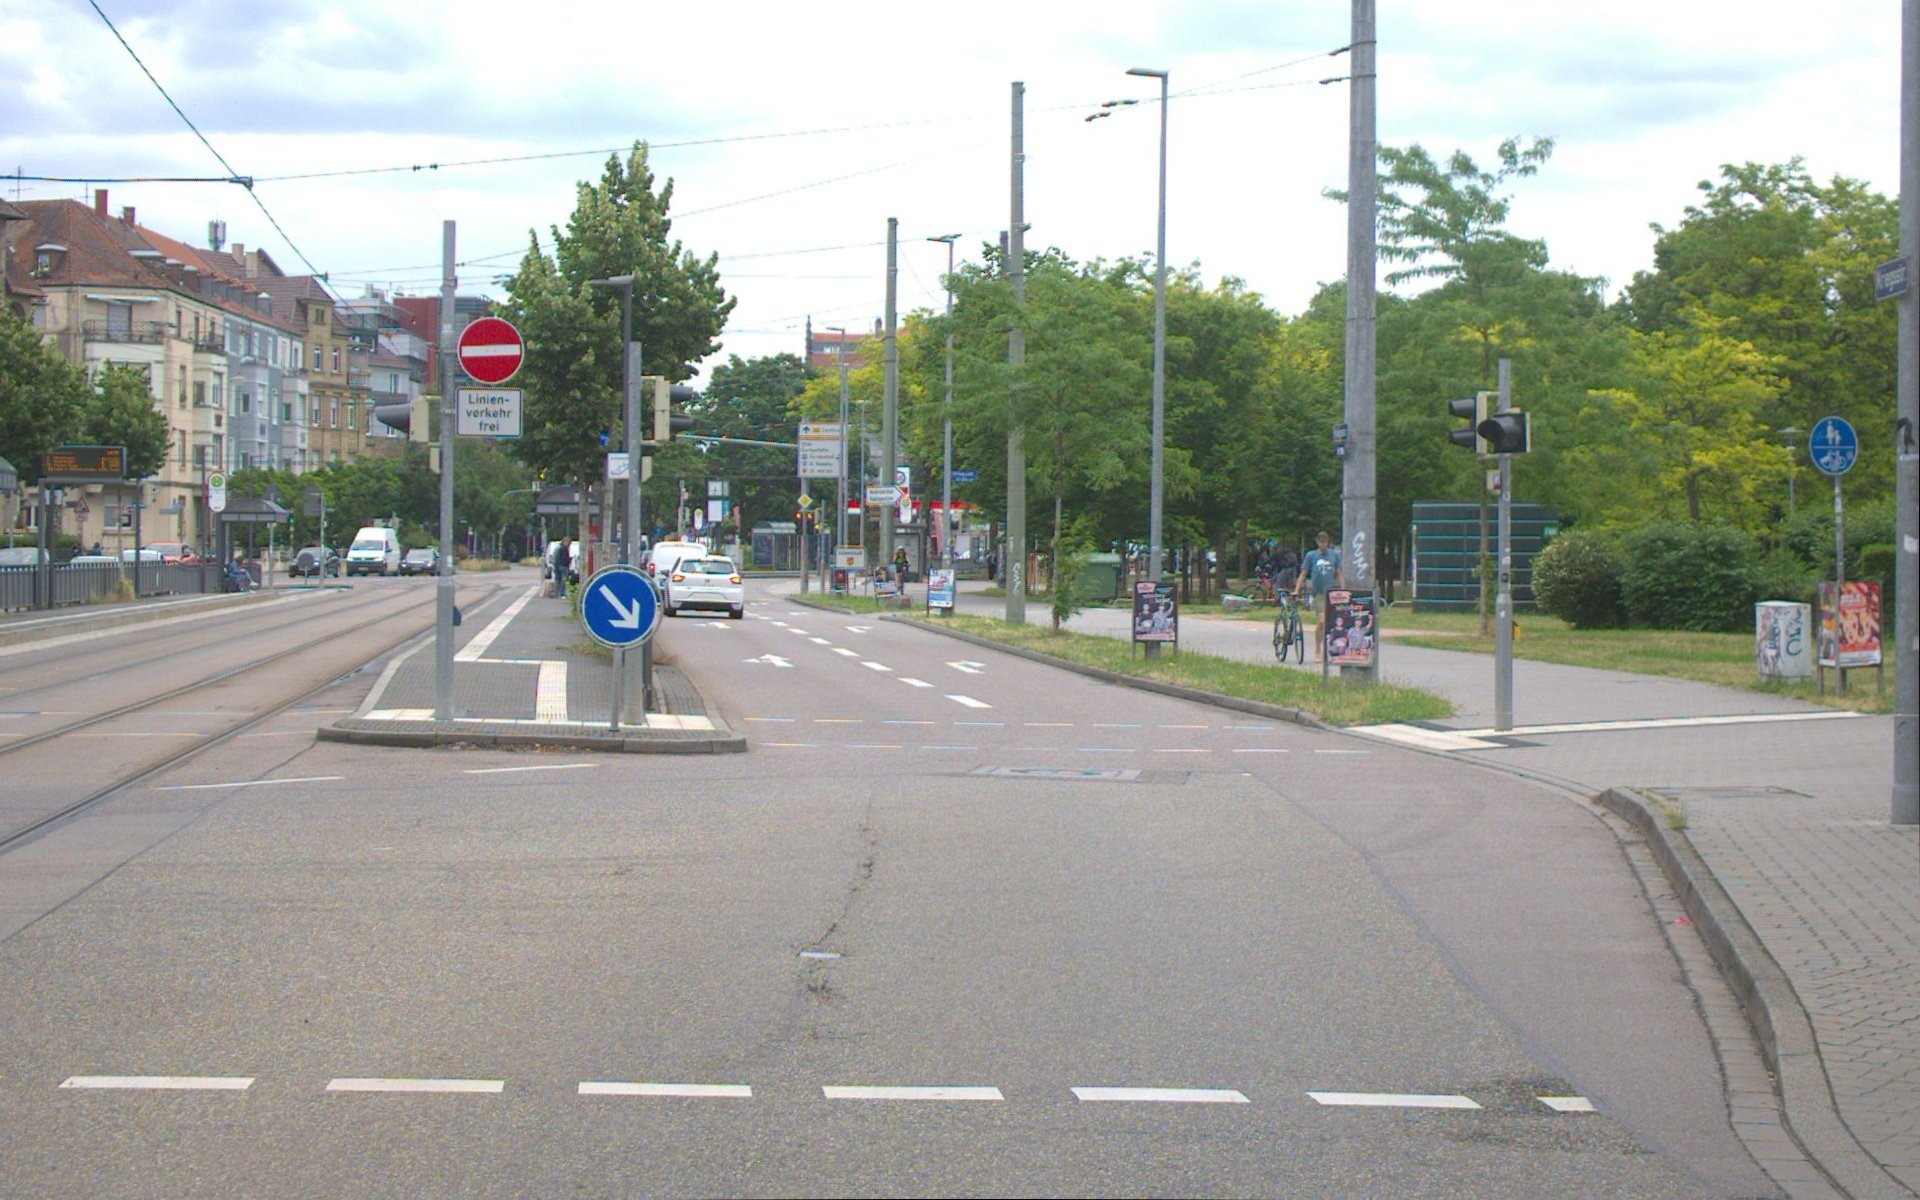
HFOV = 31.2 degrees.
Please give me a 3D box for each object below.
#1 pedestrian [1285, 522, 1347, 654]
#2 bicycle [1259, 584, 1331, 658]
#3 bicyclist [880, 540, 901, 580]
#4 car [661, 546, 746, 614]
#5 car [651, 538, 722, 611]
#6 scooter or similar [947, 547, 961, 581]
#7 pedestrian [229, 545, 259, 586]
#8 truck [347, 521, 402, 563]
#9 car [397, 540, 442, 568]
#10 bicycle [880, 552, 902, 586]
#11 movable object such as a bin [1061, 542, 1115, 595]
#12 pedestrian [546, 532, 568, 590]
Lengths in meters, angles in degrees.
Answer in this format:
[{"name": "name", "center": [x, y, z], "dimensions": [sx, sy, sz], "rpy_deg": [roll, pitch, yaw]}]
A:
[{"name": "pedestrian", "center": [5.051, -0.172, 48.795], "dimensions": [0.739, 1.863, 0.682], "rpy_deg": [0, 1, -6]}, {"name": "bicycle", "center": [4.741, 0.293, 48.705], "dimensions": [0.654, 0.999, 1.779], "rpy_deg": [1, 1, -6]}, {"name": "bicyclist", "center": [-2.430, -1.397, 120.305], "dimensions": [0.679, 1.375, 0.727], "rpy_deg": [0, 1, -4]}, {"name": "car", "center": [-5.898, -0.471, 78.737], "dimensions": [1.782, 1.467, 4.011], "rpy_deg": [1, 1, -6]}, {"name": "car", "center": [-7.659, -0.734, 96.173], "dimensions": [1.782, 1.956, 4.383], "rpy_deg": [1, 1, -7]}, {"name": "scooter or similar", "center": [-0.210, -1.236, 117.998], "dimensions": [0.376, 1.137, 1.199], "rpy_deg": [0, 1, 5]}, {"name": "pedestrian", "center": [-22.381, -1.083, 107.478], "dimensions": [0.864, 1.262, 0.694], "rpy_deg": [0, 1, -8]}, {"name": "truck", "center": [-29.085, -2.857, 170.902], "dimensions": [1.788, 2.025, 5.396], "rpy_deg": [1, 1, 0]}, {"name": "car", "center": [-29.010, -2.471, 184.528], "dimensions": [1.770, 1.488, 3.887], "rpy_deg": [1, 1, 0]}, {"name": "bicycle", "center": [-2.418, -1.093, 120.302], "dimensions": [0.679, 1.151, 1.898], "rpy_deg": [0, 1, -4]}, {"name": "movable object such as a bin", "center": [3.427, -0.847, 92.007], "dimensions": [1.282, 1.385, 1.159], "rpy_deg": [1, 0, -5]}, {"name": "pedestrian", "center": [-10.782, -1.050, 92.044], "dimensions": [0.532, 1.552, 0.571], "rpy_deg": [0, 1, -2]}]
